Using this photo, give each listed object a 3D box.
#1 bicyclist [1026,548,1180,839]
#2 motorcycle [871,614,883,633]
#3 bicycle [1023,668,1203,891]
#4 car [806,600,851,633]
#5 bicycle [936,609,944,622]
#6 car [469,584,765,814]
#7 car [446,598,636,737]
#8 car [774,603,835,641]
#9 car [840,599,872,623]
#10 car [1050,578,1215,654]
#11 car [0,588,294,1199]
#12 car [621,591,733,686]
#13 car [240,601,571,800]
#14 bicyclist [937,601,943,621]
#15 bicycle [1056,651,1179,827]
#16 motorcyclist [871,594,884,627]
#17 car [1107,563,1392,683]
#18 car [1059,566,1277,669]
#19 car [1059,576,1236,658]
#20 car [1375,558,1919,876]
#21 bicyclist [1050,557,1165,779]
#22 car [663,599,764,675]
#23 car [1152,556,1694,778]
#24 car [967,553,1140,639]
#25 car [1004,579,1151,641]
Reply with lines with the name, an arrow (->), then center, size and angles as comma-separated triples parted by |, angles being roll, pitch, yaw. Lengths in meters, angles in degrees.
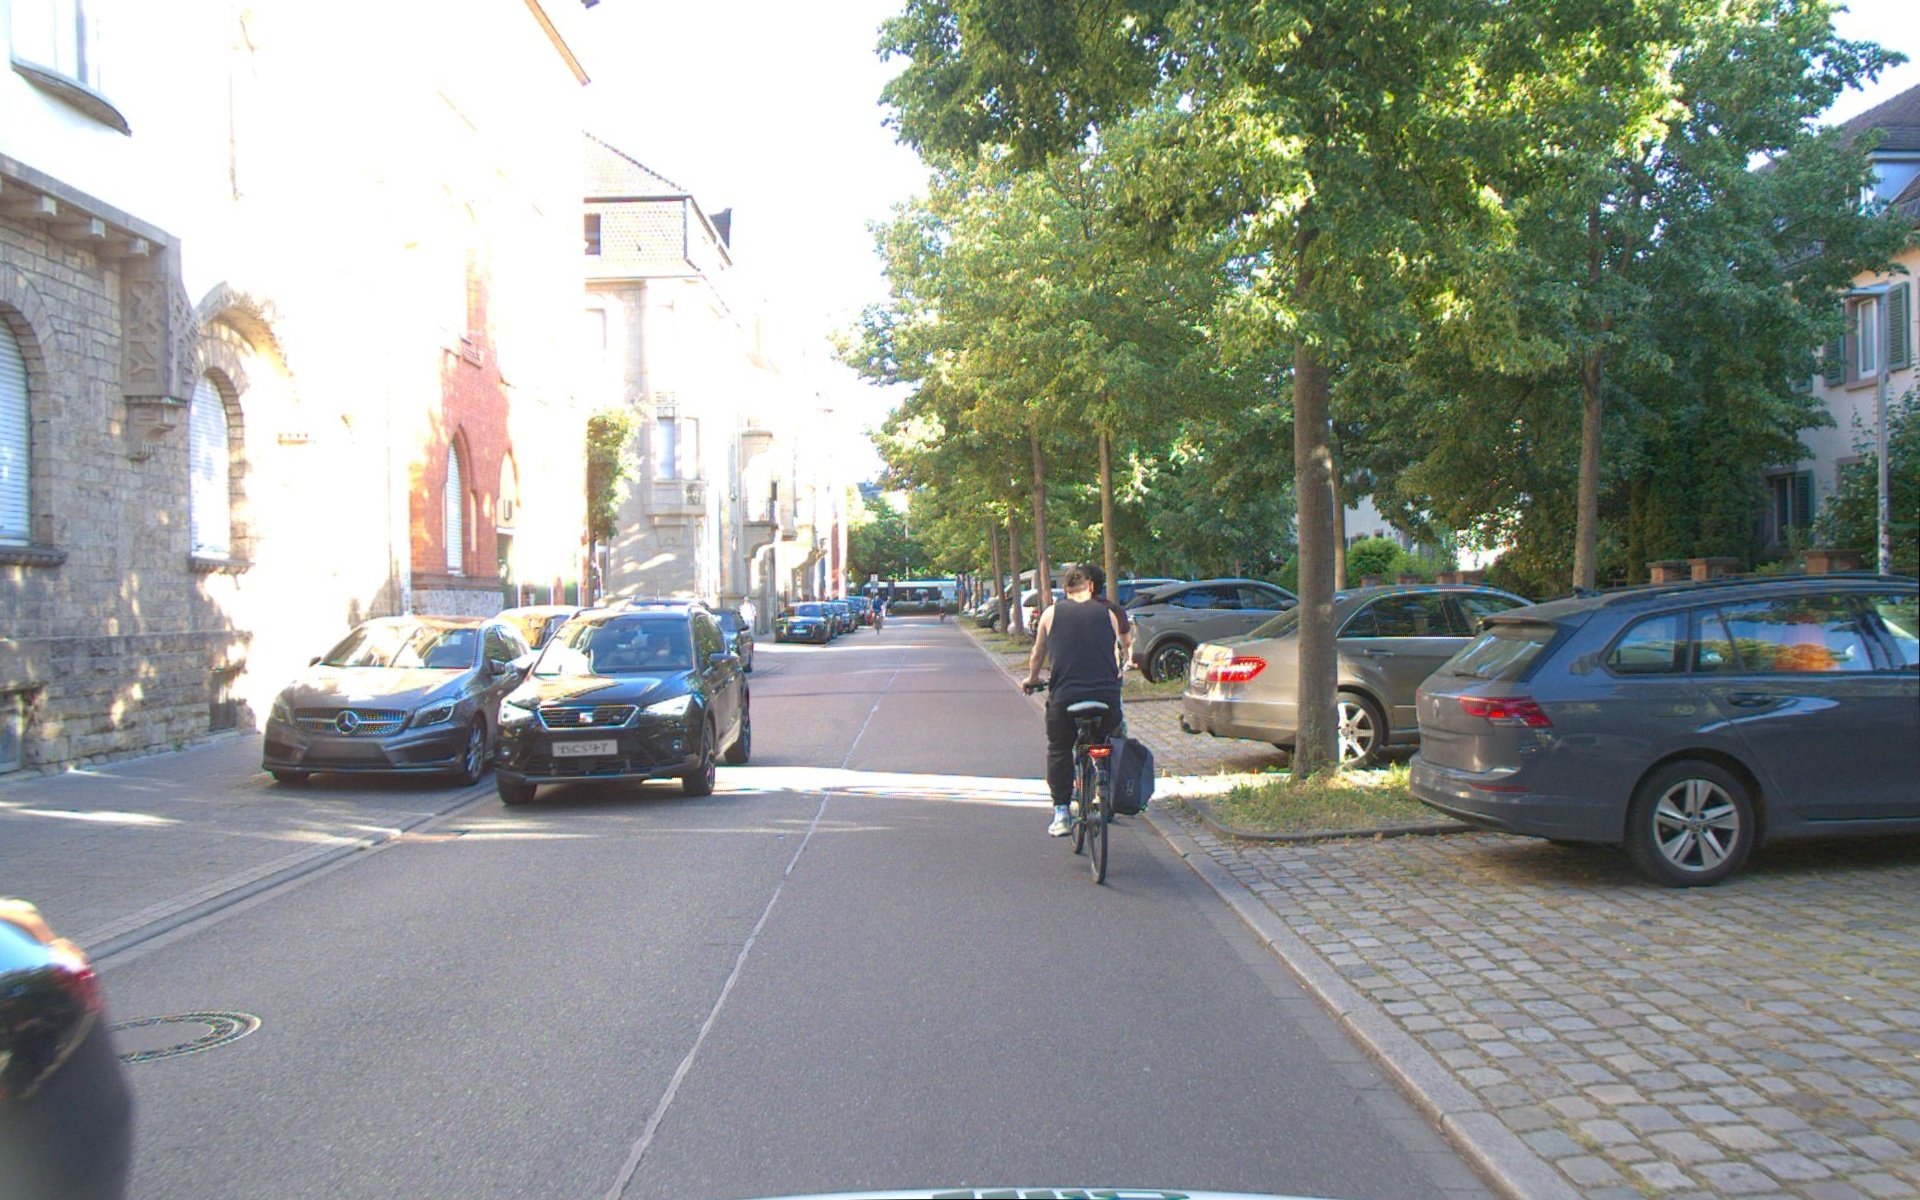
bicyclist -> 0.790, 0.510, 9.408 | 0.692, 1.553, 0.971 | -1, -1, -5
motorcycle -> -3.739, 1.049, 74.546 | 0.540, 0.815, 1.307 | -1, 0, -3
bicycle -> 0.828, 0.967, 9.525 | 0.682, 1.092, 1.966 | -1, -1, -5
car -> -6.450, 0.813, 81.584 | 1.953, 1.557, 3.999 | -1, -1, -1
bicycle -> -1.389, 1.081, 114.612 | 0.530, 0.842, 1.918 | -1, -1, -1
car -> -2.838, 0.770, 14.566 | 1.731, 1.627, 4.089 | -3, -1, -1
car -> -5.251, 0.805, 21.162 | 1.461, 1.544, 3.774 | 3, -1, -1
car -> -5.787, 0.840, 61.859 | 1.931, 1.343, 3.999 | -1, -1, -1
car -> -6.941, 0.741, 110.683 | 1.953, 1.557, 3.999 | -1, -1, -1
car -> 4.568, 0.436, 44.182 | 4.156, 1.828, 1.854 | -2, -1, 0
car -> -2.195, 0.747, 0.969 | 1.858, 1.512, 4.380 | -2, -1, -1
car -> -5.413, 0.735, 31.990 | 1.598, 1.694, 3.966 | -1, -1, -2
car -> -5.028, 0.847, 15.623 | 1.719, 1.544, 4.113 | 3, -1, -1
bicyclist -> -1.385, 0.752, 114.526 | 0.408, 1.374, 0.430 | -1, -1, -1
bicycle -> 1.098, 0.945, 11.889 | 0.544, 1.091, 1.967 | -1, 0, -4
motorcyclist -> -3.736, 0.477, 74.711 | 0.540, 1.474, 0.688 | -1, 0, -4
car -> 4.532, 0.367, 26.325 | 4.156, 1.676, 1.854 | -2, -1, 0
car -> 4.188, 0.361, 33.728 | 4.156, 1.872, 1.854 | -2, -1, 0
car -> 4.649, 0.432, 41.391 | 4.156, 1.828, 1.854 | -2, -1, 0
car -> 4.682, 0.546, 8.923 | 4.410, 1.478, 1.816 | -2, -1, 0
bicyclist -> 1.067, 0.489, 12.157 | 0.704, 1.553, 0.971 | -1, -1, -2
car -> -5.342, 0.787, 36.259 | 1.583, 1.508, 4.017 | 3, -1, -1
car -> 3.919, 0.554, 14.428 | 4.160, 1.634, 1.752 | -2, -1, -4
car -> 3.976, -0.139, 71.065 | 7.183, 3.339, 2.223 | -2, -1, 0
car -> 3.846, 0.335, 54.528 | 4.660, 1.811, 1.854 | -2, -1, 0
